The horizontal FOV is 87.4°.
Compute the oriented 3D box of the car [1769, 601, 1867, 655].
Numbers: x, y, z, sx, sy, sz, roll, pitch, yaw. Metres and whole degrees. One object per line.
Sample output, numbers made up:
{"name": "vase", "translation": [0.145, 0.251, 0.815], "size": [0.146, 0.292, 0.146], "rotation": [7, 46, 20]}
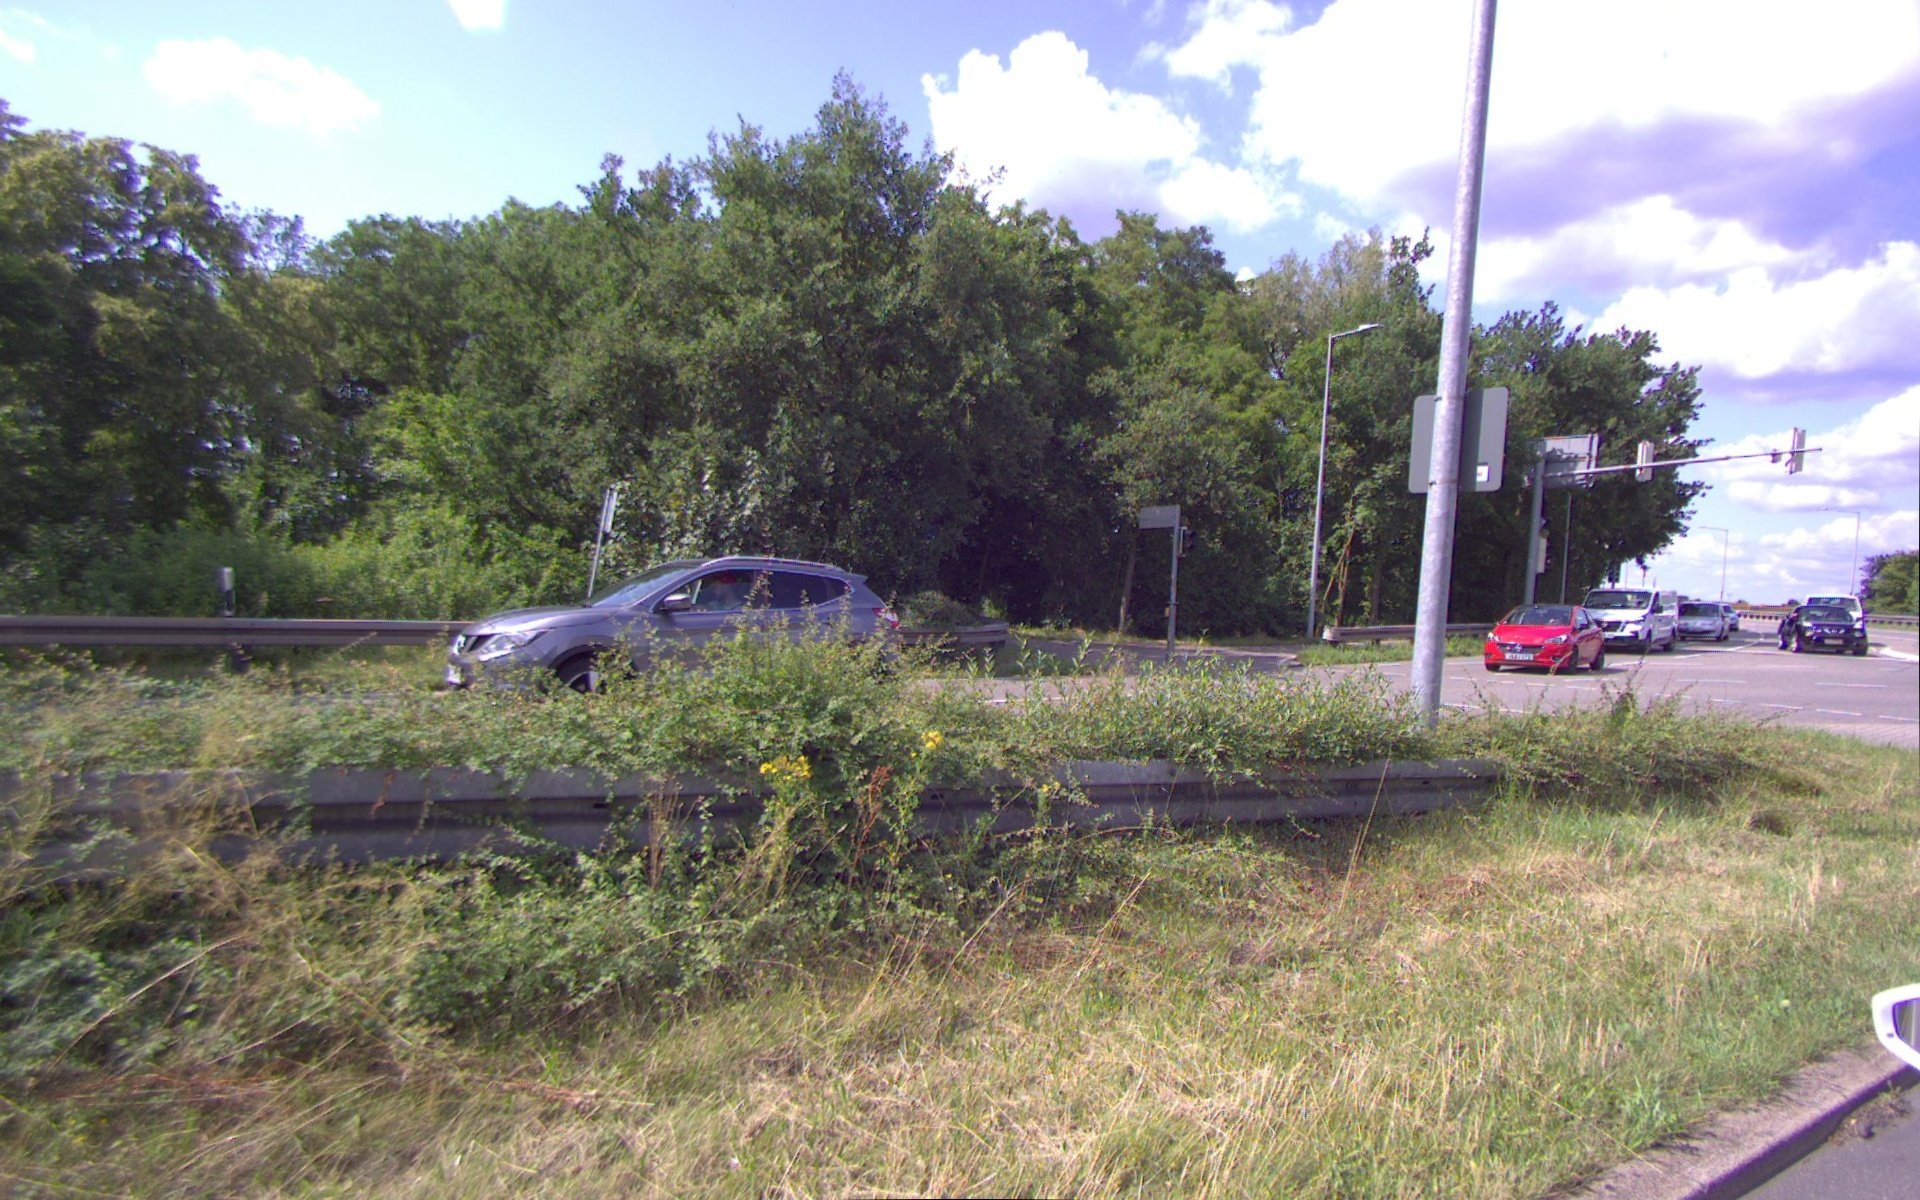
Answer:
{"name": "car", "translation": [27.908, 0.864, 32.796], "size": [1.673, 1.578, 3.814], "rotation": [2, 1, 30]}

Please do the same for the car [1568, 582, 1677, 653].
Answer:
{"name": "car", "translation": [20.697, 0.551, 31.295], "size": [1.972, 2.040, 5.105], "rotation": [0, -1, 43]}

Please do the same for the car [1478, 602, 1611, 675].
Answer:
{"name": "car", "translation": [13.033, 0.815, 22.302], "size": [3.974, 1.451, 1.565], "rotation": [1, 0, -45]}

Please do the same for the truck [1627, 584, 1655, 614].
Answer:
{"name": "truck", "translation": [61.504, -0.122, 90.752], "size": [1.966, 2.656, 6.087], "rotation": [0, 1, 33]}

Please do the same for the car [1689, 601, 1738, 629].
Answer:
{"name": "car", "translation": [41.876, 0.814, 55.882], "size": [1.658, 1.498, 4.703], "rotation": [0, 0, 30]}

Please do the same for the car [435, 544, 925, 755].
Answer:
{"name": "car", "translation": [-2.530, 0.413, 9.705], "size": [4.248, 1.607, 1.695], "rotation": [1, 0, -41]}

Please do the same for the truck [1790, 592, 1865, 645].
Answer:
{"name": "truck", "translation": [34.716, 0.686, 40.325], "size": [1.936, 1.939, 5.348], "rotation": [2, 2, 38]}

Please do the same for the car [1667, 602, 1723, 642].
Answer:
{"name": "car", "translation": [30.074, 0.872, 41.065], "size": [1.711, 1.541, 4.051], "rotation": [0, 0, 38]}
